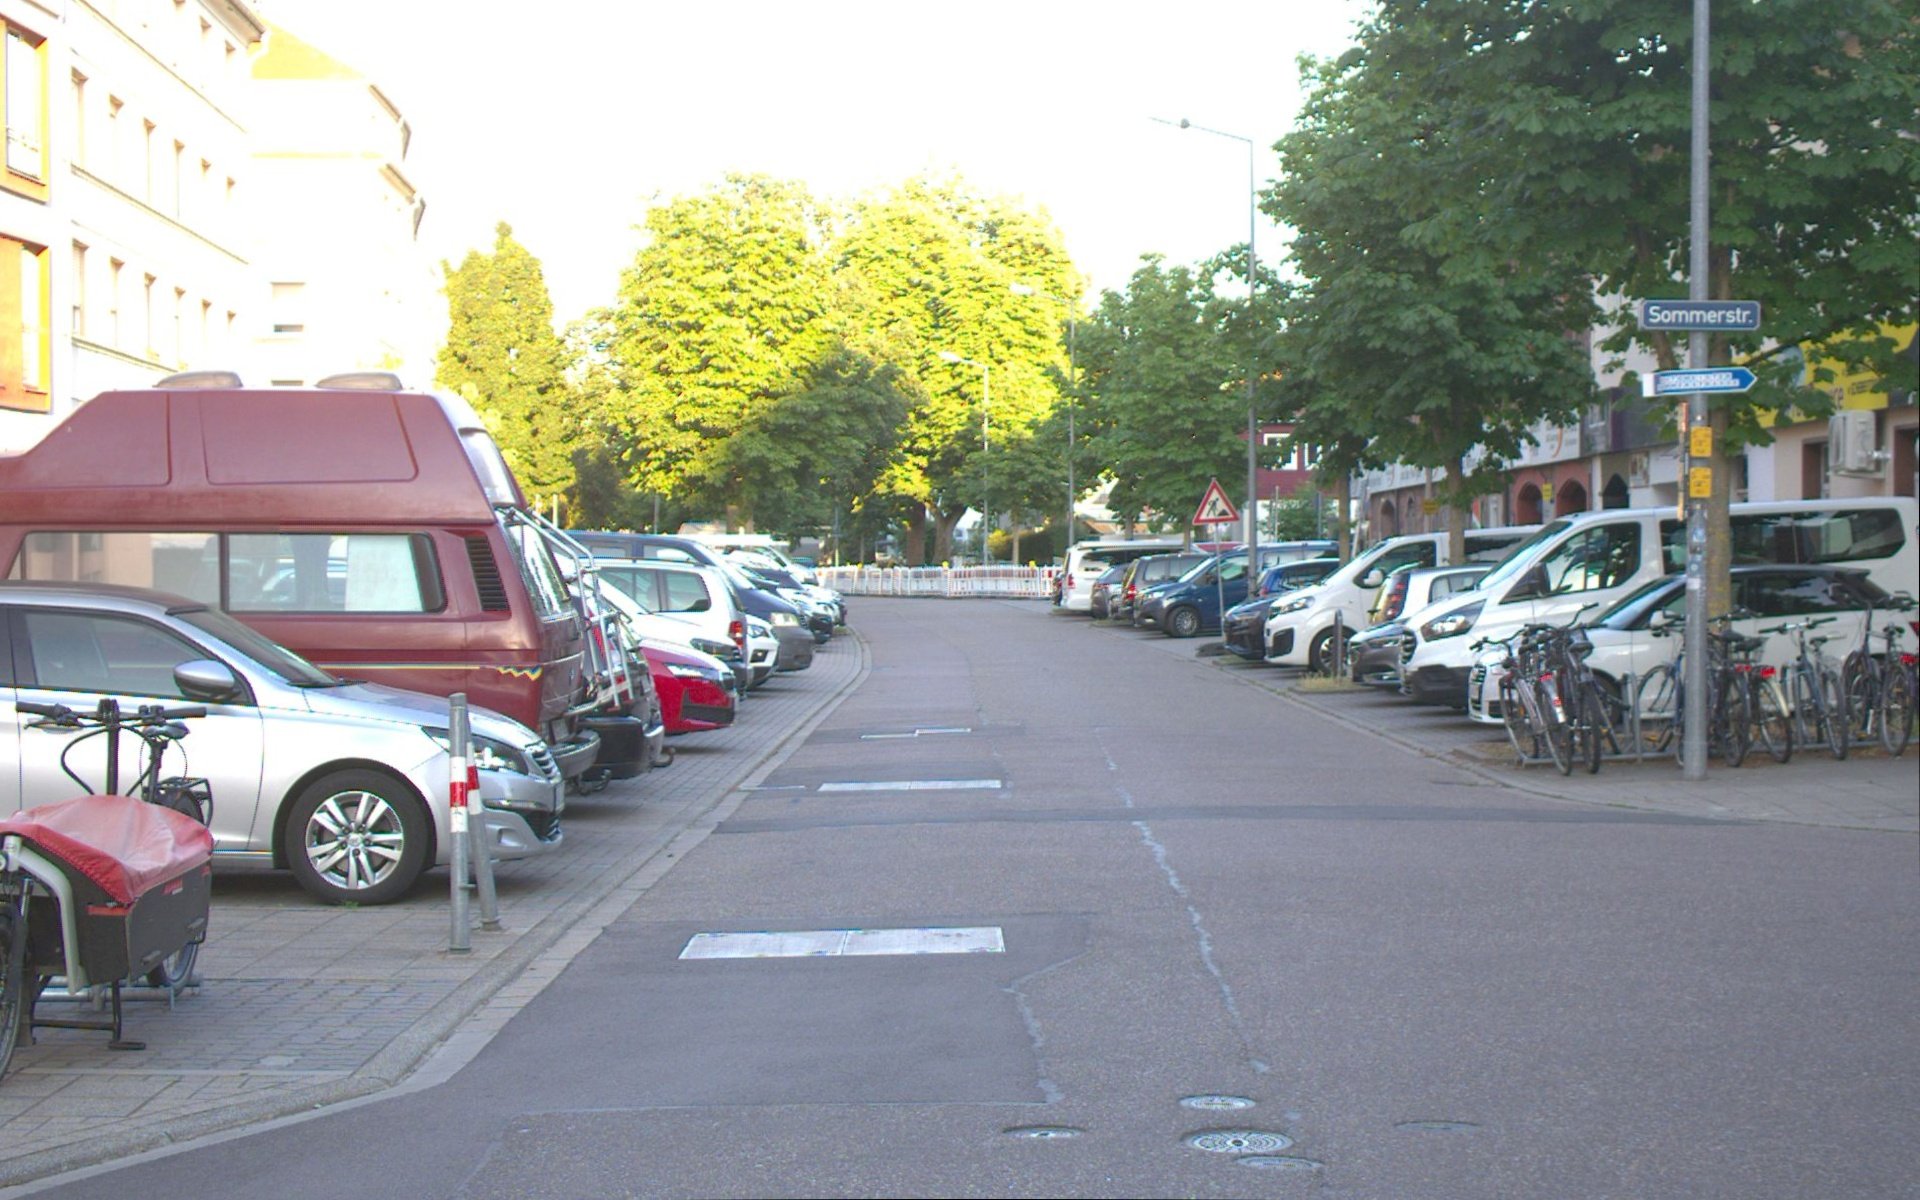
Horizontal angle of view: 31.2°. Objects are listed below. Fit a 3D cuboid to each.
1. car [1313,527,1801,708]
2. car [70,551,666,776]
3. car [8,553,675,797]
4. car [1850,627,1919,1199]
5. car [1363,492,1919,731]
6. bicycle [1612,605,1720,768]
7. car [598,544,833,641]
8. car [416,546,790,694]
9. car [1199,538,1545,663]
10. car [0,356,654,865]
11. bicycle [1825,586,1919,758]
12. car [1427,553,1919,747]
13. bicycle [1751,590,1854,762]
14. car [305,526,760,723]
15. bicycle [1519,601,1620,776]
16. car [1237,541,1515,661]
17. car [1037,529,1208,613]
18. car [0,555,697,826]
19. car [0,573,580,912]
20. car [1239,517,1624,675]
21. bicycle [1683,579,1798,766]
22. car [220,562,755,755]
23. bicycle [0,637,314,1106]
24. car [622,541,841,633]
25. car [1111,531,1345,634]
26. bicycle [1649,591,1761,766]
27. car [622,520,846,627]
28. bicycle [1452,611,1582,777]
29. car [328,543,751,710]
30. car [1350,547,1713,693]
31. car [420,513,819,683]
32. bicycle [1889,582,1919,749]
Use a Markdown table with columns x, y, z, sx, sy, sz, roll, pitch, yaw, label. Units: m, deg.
| x | y | z | sx | sy | sz | roll | pitch | yaw | label |
| --- | --- | --- | --- | --- | --- | --- | --- | --- | --- |
| 6.446 | 0.171 | 37.549 | 4.944 | 1.736 | 2.049 | -2 | 1 | 2 | car |
| -4.438 | 0.451 | 26.282 | 4.209 | 1.570 | 2.000 | 1 | 1 | -1 | car |
| -4.257 | 0.486 | 24.018 | 4.210 | 1.533 | 1.841 | 1 | 1 | 7 | car |
| 2.196 | 0.796 | 3.064 | 1.721 | 1.419 | 4.253 | 1 | 1 | 0 | car |
| 6.412 | 0.088 | 32.203 | 4.990 | 1.976 | 2.220 | -2 | 1 | 1 | car |
| 5.181 | 0.612 | 25.322 | 0.386 | 1.110 | 2.017 | -1 | 1 | 1 | bicycle |
| -4.591 | -0.152 | 64.970 | 4.257 | 1.709 | 2.000 | 1 | 1 | 1 | car |
| -4.242 | 0.224 | 41.310 | 4.257 | 1.646 | 1.888 | 1 | 1 | 1 | car |
| 6.219 | -0.009 | 52.319 | 4.944 | 1.683 | 2.077 | -2 | 1 | -1 | car |
| -4.075 | 0.024 | 18.872 | 4.511 | 2.575 | 2.000 | 1 | 1 | 2 | car |
| 6.724 | 0.508 | 25.095 | 0.445 | 1.196 | 1.481 | -1 | 1 | 1 | bicycle |
| 6.119 | 0.401 | 29.426 | 3.918 | 1.446 | 1.768 | -2 | 1 | -2 | car |
| 6.147 | 0.540 | 25.140 | 0.386 | 1.196 | 1.481 | -1 | 1 | 1 | bicycle |
| -4.226 | 0.223 | 34.480 | 4.257 | 1.830 | 2.000 | 1 | 1 | 1 | car |
| 4.471 | 0.627 | 25.304 | 0.386 | 1.196 | 2.017 | -1 | 1 | 1 | bicycle |
| 6.886 | 0.003 | 57.212 | 4.316 | 1.798 | 1.811 | -2 | 1 | -1 | car |
| 4.014 | -0.720 | 85.441 | 3.967 | 1.905 | 2.049 | -2 | 1 | -4 | car |
| -3.816 | 0.530 | 21.443 | 4.209 | 1.533 | 1.791 | 1 | 1 | -1 | car |
| -4.196 | 0.618 | 16.304 | 4.615 | 1.455 | 1.881 | 1 | 1 | -2 | car |
| 6.442 | -0.066 | 47.369 | 4.944 | 1.951 | 2.049 | -2 | 1 | -1 | car |
| 5.727 | 0.506 | 25.305 | 0.386 | 1.300 | 2.017 | -1 | 1 | 1 | bicycle |
| -3.929 | 0.470 | 29.055 | 4.209 | 1.484 | 1.850 | 1 | 1 | 1 | car |
| -2.793 | 0.768 | 10.978 | 0.808 | 1.217 | 2.865 | 1 | 1 | 2 | bicycle |
| -4.607 | -0.279 | 69.742 | 4.257 | 1.743 | 2.000 | 1 | 1 | 1 | car |
| 5.415 | -0.366 | 69.880 | 4.478 | 1.905 | 1.688 | -2 | 1 | -4 | car |
| 5.466 | 0.552 | 25.302 | 0.386 | 1.196 | 2.017 | -1 | 1 | 1 | bicycle |
| -4.731 | -0.569 | 72.379 | 4.533 | 2.127 | 2.000 | 1 | 1 | 1 | car |
| 4.052 | 0.663 | 25.127 | 0.438 | 1.126 | 2.018 | -1 | 1 | -5 | bicycle |
| -4.459 | 0.261 | 36.958 | 4.257 | 1.654 | 2.000 | 1 | 1 | 1 | car |
| 6.623 | 0.215 | 40.180 | 3.912 | 1.521 | 1.939 | -2 | 1 | 2 | car |
| -4.293 | -0.038 | 43.864 | 4.850 | 2.014 | 1.906 | 1 | 1 | 1 | car |
| 7.153 | 0.479 | 25.076 | 0.353 | 1.196 | 1.481 | -1 | 1 | 1 | bicycle |
